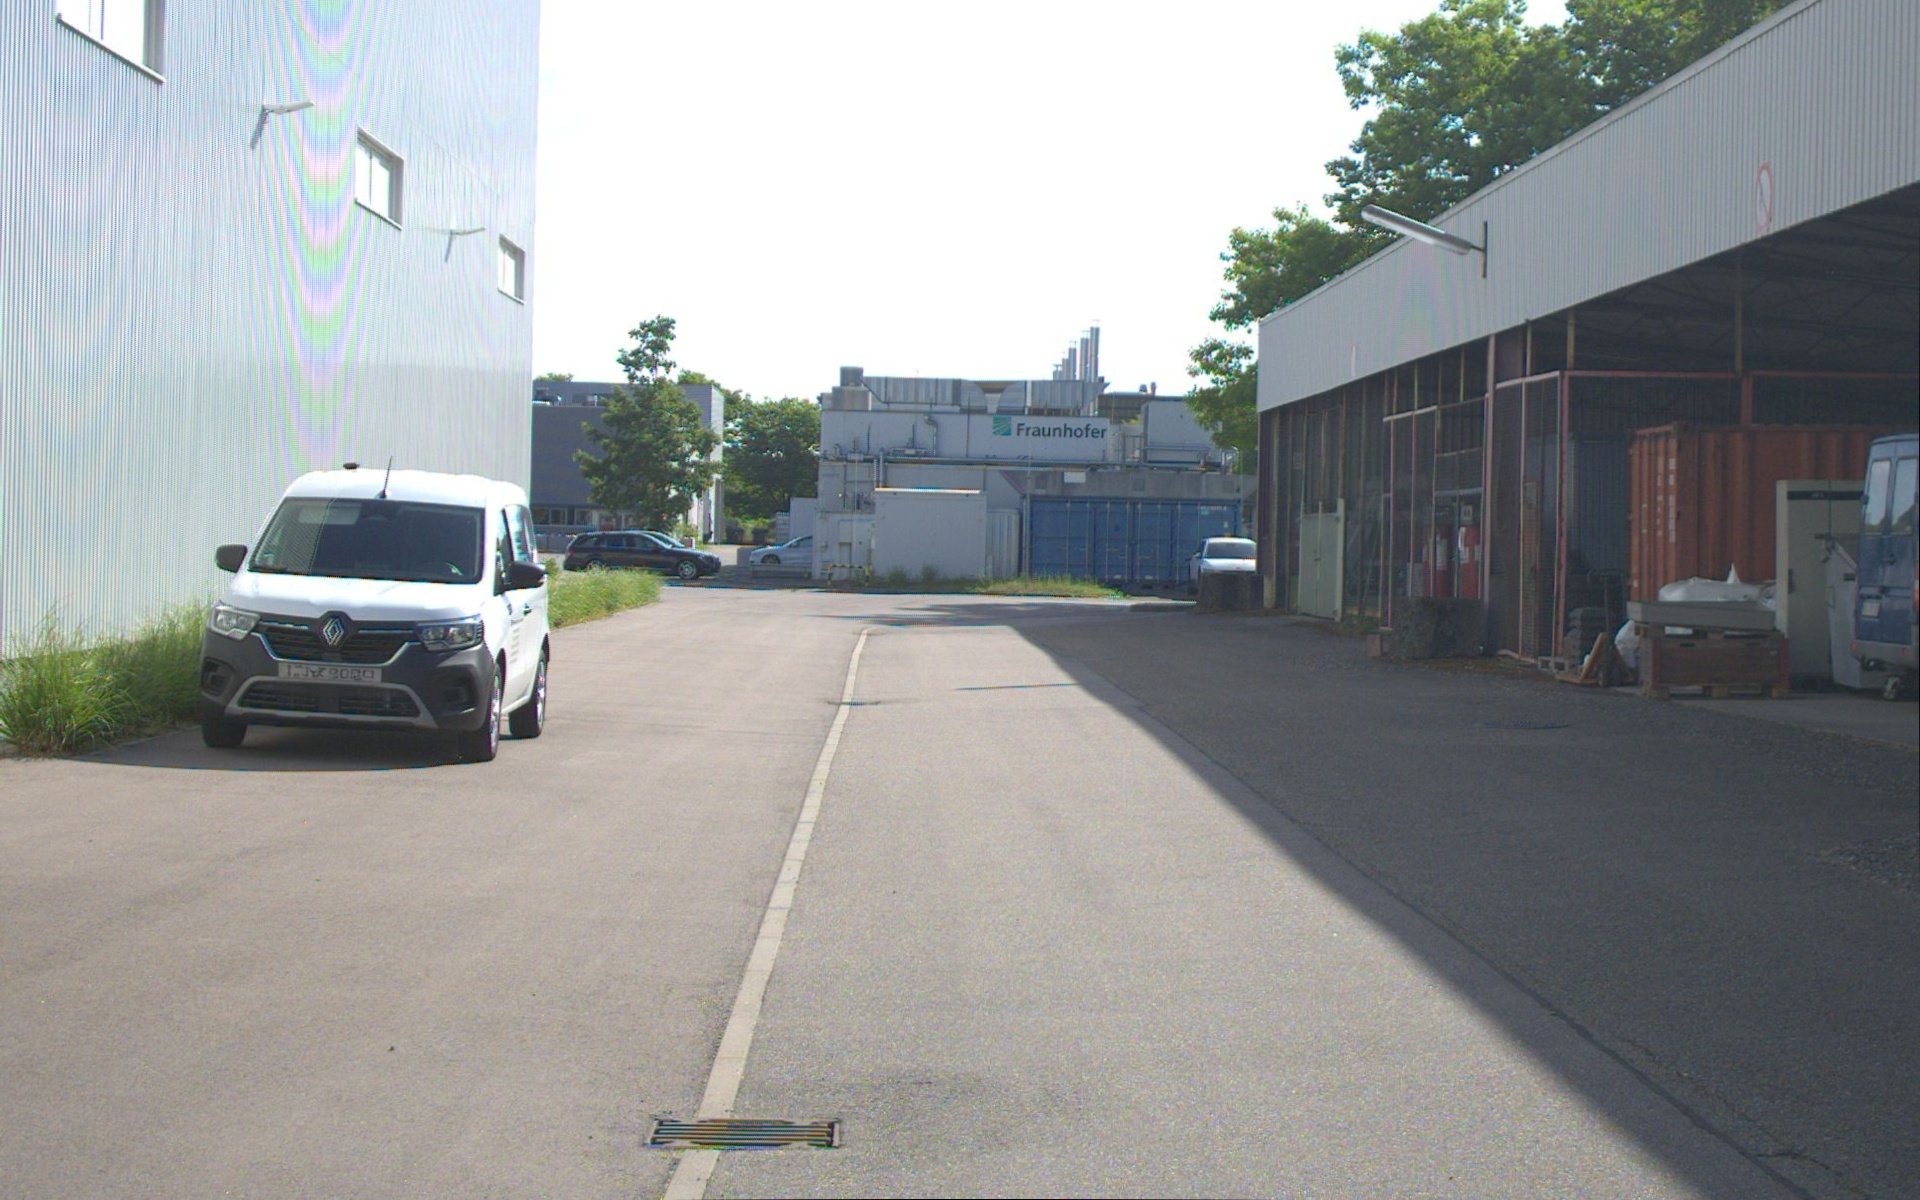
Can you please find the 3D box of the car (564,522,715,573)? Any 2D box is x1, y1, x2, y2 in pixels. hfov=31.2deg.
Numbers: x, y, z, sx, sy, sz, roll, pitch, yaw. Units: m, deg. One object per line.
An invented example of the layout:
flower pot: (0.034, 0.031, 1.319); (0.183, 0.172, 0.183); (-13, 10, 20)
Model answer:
car: (-9.726, -1.587, 104.605); (4.447, 1.525, 1.824); (0, 1, -1)

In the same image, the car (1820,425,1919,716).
car: (9.986, -0.211, 28.062); (5.332, 2.273, 2.153); (1, 1, -1)

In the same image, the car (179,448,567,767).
car: (-3.747, 0.018, 22.717); (1.783, 1.809, 4.602); (3, 1, -1)

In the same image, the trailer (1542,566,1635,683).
trailer: (6.162, 0.224, 33.754); (0.551, 1.114, 1.547); (0, 1, -3)

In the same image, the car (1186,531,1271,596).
car: (7.180, -1.002, 92.331); (1.979, 1.597, 4.377); (0, 2, 1)

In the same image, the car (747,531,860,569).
car: (-6.022, -1.923, 132.541); (4.302, 1.452, 1.824); (0, 1, -1)

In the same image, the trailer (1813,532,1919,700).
trailer: (8.810, 0.122, 30.669); (2.038, 1.461, 1.738); (0, 1, 3)
